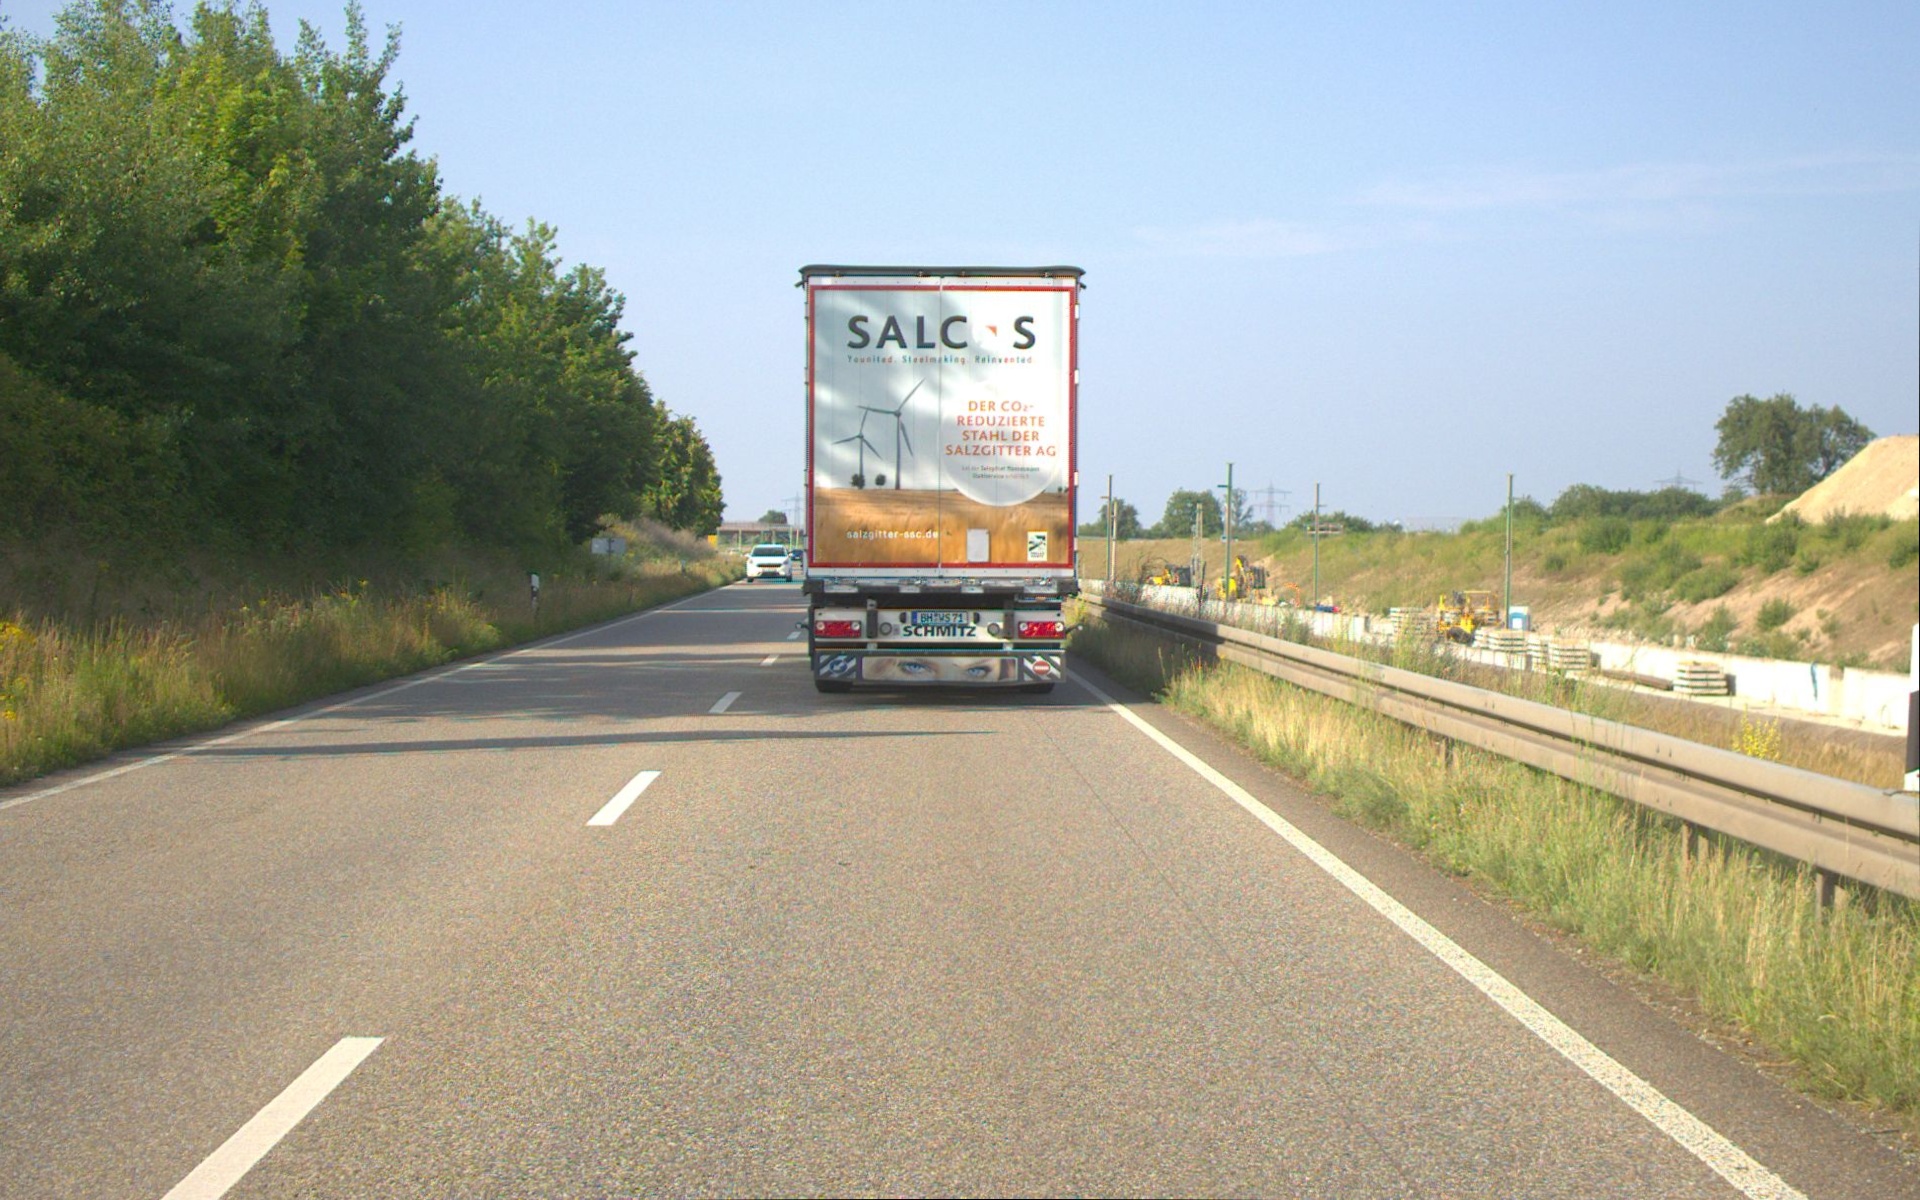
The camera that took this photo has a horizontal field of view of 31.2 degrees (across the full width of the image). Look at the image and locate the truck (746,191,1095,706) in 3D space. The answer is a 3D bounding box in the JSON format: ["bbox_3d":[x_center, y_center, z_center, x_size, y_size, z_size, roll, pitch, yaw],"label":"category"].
[{"bbox_3d":[-0.491,-1.439,35.638,3.153,4.672,8.442,0,1,-2],"label":"truck"}]

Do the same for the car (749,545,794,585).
[{"bbox_3d":[-7.711,-1.446,140.790,1.744,1.559,4.366,1,1,-2],"label":"car"}]

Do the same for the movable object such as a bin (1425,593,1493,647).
[{"bbox_3d":[25.295,1.013,174.263,2.907,2.652,2.017,1,1,23],"label":"movable object such as a bin"}]
